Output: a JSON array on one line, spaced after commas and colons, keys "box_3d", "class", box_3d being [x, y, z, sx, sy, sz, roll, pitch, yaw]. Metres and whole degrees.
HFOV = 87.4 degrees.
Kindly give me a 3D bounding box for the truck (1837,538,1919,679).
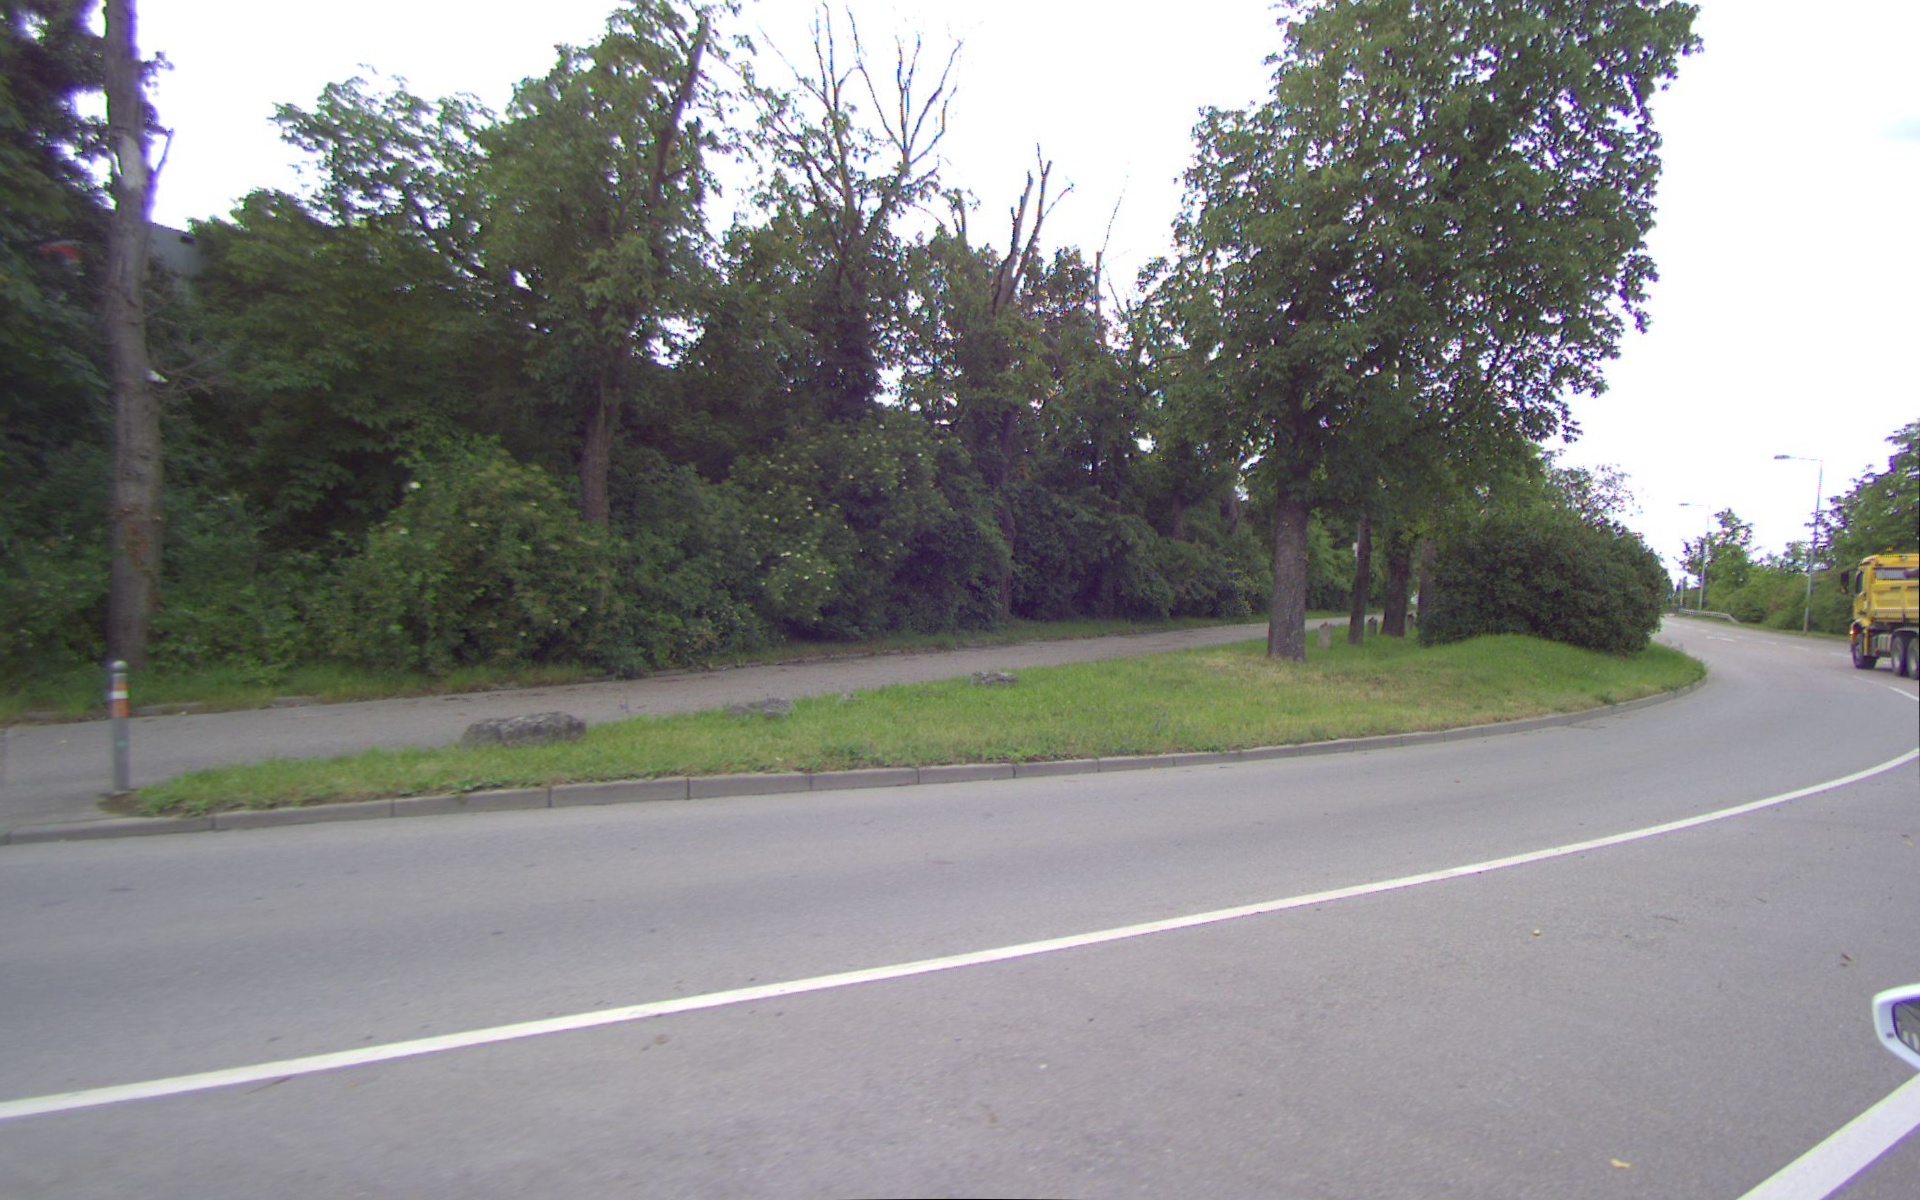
[{"box_3d": [27.101, 0.202, 27.752, 2.724, 3.530, 8.112, 1, 1, 30], "class": "truck"}]
